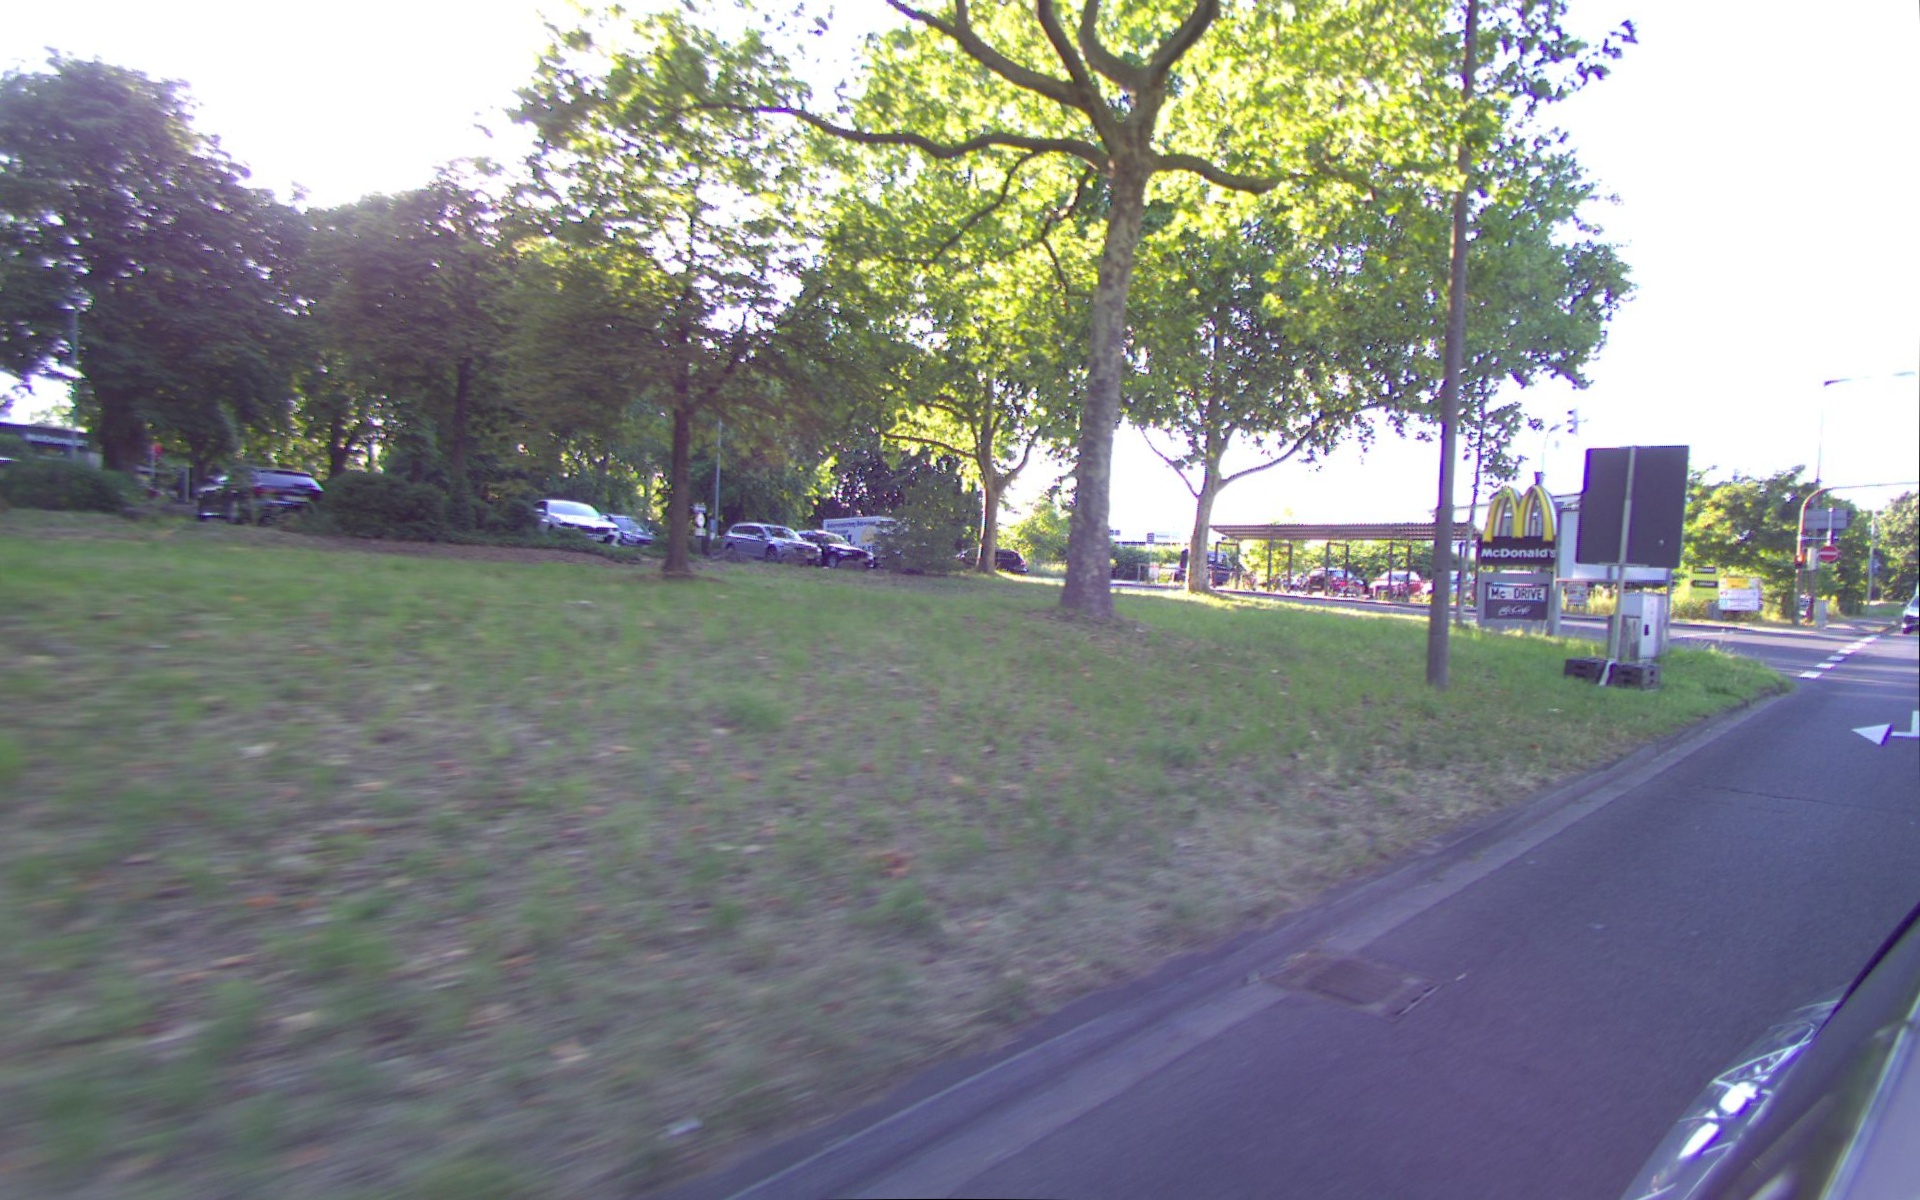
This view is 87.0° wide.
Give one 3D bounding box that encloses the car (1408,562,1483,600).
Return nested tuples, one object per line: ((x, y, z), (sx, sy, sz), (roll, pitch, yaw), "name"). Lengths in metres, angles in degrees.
((23.911, -0.916, 49.798), (2.115, 1.668, 3.936), (5, 3, 44), "car")

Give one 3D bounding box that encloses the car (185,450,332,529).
((-17.294, -2.684, 24.896), (4.204, 1.708, 1.803), (5, 3, 38), "car")

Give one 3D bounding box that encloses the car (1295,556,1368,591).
((20.187, -1.409, 54.923), (2.115, 1.668, 4.251), (5, 3, 44), "car")

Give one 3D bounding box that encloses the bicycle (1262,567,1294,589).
((15.736, -1.086, 50.059), (1.860, 1.051, 0.544), (1, 3, -40), "bicycle")

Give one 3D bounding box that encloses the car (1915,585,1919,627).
((39.851, 0.299, 40.753), (1.872, 1.637, 4.474), (5, 3, 44), "car")

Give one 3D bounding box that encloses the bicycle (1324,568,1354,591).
((17.938, -0.976, 47.871), (1.862, 1.051, 0.543), (0, 3, -44), "bicycle")

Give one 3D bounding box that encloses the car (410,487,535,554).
((-13.993, -2.277, 28.942), (4.213, 1.708, 1.799), (5, 3, 43), "car")

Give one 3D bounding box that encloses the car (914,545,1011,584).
((0.096, -1.659, 46.824), (4.171, 1.574, 1.834), (3, 2, -8), "car")

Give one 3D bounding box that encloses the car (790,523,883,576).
((-4.588, -1.878, 37.385), (1.650, 1.751, 3.498), (1, 3, -42), "car")

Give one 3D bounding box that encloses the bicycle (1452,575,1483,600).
((21.863, -0.526, 43.594), (1.862, 1.051, 0.543), (0, 3, -44), "bicycle")

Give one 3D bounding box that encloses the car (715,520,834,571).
((-6.606, -1.946, 35.711), (2.009, 1.593, 4.394), (0, 3, -44), "car")

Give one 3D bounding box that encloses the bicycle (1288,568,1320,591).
((16.706, -0.993, 49.161), (1.860, 1.051, 0.544), (1, 3, -40), "bicycle")

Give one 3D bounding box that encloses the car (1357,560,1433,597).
((22.267, -1.103, 51.751), (2.115, 1.668, 4.251), (5, 3, 44), "car")

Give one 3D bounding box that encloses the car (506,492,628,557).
((-11.861, -2.269, 30.334), (1.964, 1.727, 4.898), (1, 3, -39), "car")

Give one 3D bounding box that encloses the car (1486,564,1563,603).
((26.813, -0.773, 48.008), (2.115, 1.668, 4.160), (5, 3, 44), "car")

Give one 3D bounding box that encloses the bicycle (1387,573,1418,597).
((19.890, -0.676, 45.506), (1.862, 1.051, 0.543), (0, 3, -44), "bicycle")

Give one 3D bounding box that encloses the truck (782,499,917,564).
((-7.680, -4.680, 68.223), (3.139, 3.923, 11.087), (1, 3, -41), "truck")

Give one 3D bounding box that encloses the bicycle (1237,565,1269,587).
((14.837, -1.214, 51.228), (1.860, 1.051, 0.544), (1, 3, -40), "bicycle")

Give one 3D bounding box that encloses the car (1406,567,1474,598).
((30.090, -1.091, 63.456), (3.924, 1.656, 2.121), (1, 3, -36), "car")

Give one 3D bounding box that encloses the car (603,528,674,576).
((-12.801, -1.930, 40.168), (1.647, 1.751, 3.505), (2, 3, -35), "car")
